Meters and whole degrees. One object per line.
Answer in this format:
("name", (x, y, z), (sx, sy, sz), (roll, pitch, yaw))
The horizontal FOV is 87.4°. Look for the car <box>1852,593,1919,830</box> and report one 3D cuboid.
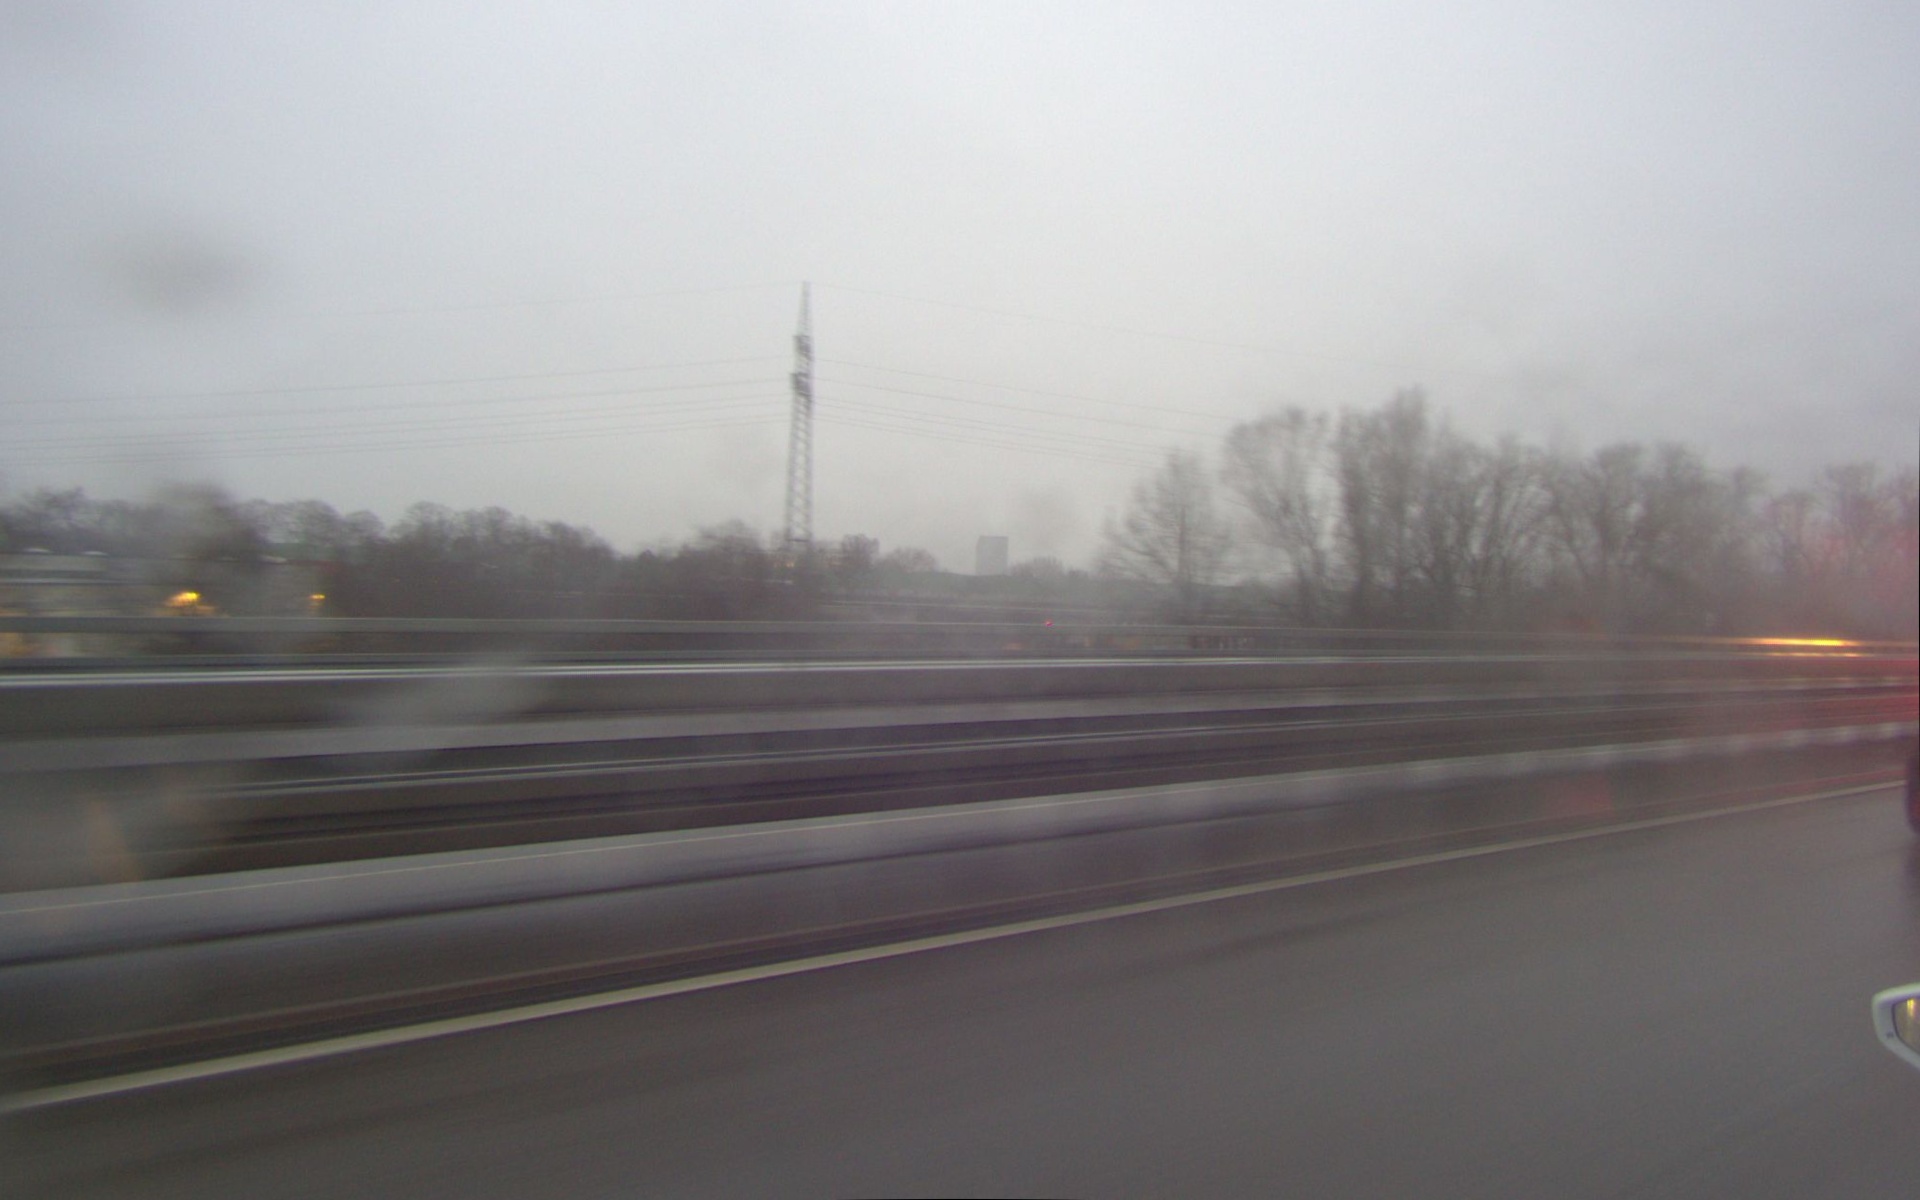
("car", (8.307, 0.835, 7.113), (3.993, 1.553, 1.723), (3, -2, -28))
